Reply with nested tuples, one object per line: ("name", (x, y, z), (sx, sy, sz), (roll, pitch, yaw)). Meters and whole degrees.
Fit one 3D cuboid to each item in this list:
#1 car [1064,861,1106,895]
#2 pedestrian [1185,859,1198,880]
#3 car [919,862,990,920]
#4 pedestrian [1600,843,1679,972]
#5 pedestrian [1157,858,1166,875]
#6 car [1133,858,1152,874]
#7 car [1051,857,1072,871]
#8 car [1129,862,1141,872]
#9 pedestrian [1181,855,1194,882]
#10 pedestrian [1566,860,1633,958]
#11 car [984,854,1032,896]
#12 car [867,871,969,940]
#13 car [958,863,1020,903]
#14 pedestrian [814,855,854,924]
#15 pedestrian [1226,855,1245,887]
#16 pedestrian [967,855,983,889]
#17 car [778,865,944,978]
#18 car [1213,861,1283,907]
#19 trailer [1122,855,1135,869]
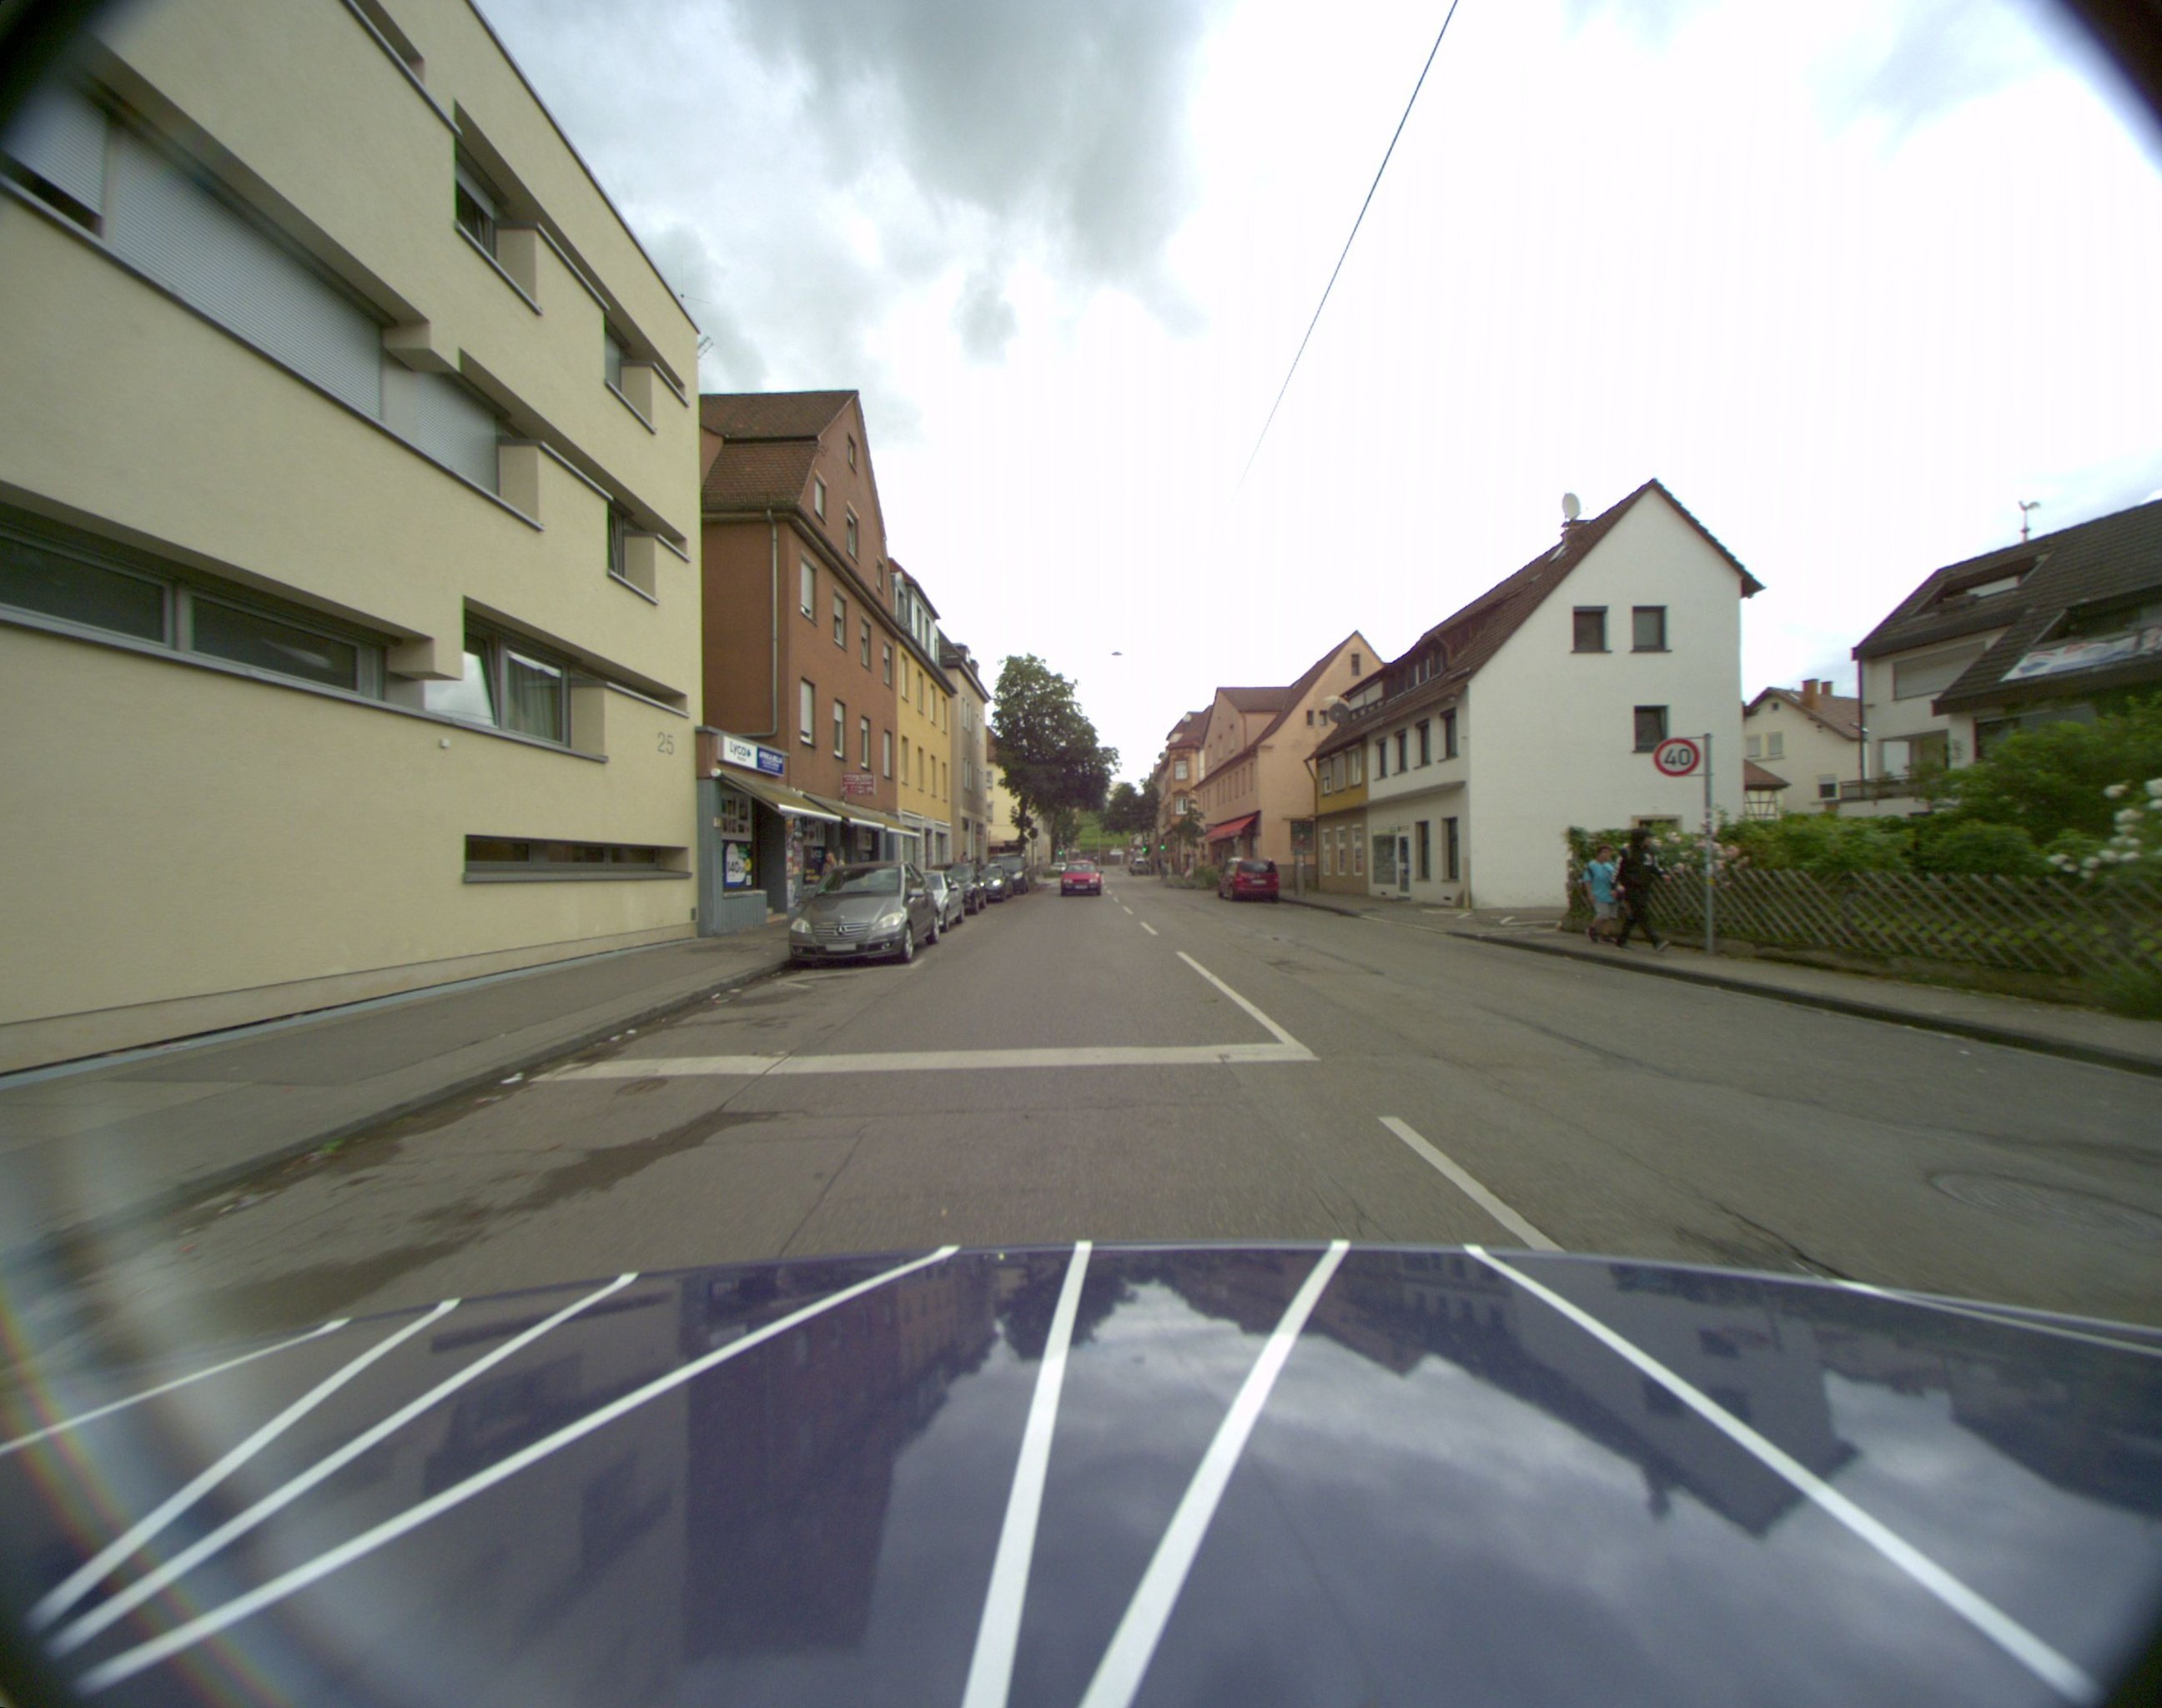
("car", (0.245, 1.034, 33.593), (1.626, 1.387, 4.001), (-1, 0, 3))
("pedestrian", (7.865, 1.097, 54.029), (0.740, 1.526, 0.983), (-1, 0, -1))
("car", (-3.782, 1.056, 23.301), (1.606, 1.509, 4.208), (-2, 0, -2))
("pedestrian", (8.331, 0.783, 11.362), (0.572, 1.837, 0.697), (-4, 0, 1))
("pedestrian", (8.641, 1.343, 81.516), (0.740, 1.708, 1.156), (-1, 0, -2))
("car", (6.698, 1.269, 83.171), (1.895, 1.702, 4.742), (1, -1, 2))
("car", (-2.128, 1.082, 83.771), (1.771, 1.457, 4.785), (-1, -1, 4))
("car", (7.678, 1.892, 108.138), (1.582, 1.374, 4.355), (1, 0, 2))
("pedestrian", (7.073, 0.957, 50.581), (0.740, 1.744, 0.983), (-1, 0, 1))
("pedestrian", (8.513, 0.888, 12.505), (0.572, 1.545, 0.697), (-2, 0, 1))
("car", (-3.245, 0.883, 34.724), (1.824, 1.770, 4.402), (-1, 0, -1))
("car", (-3.657, 1.119, 17.662), (1.555, 1.325, 3.812), (-1, 0, -1))
("car", (-3.510, 1.080, 29.736), (1.755, 1.397, 4.511), (0, 0, 1))
("pedestrian", (-6.030, 0.862, 18.586), (0.703, 1.639, 0.888), (0, 0, 0))
("pedestrian", (8.251, 0.903, 40.603), (0.732, 1.619, 0.758), (-3, 1, -3))
("pedestrian", (-5.315, 0.892, 38.150), (0.616, 1.643, 0.983), (1, 0, 0))
("car", (-3.514, 0.994, 12.849), (1.716, 1.551, 3.785), (-1, 0, -1))
("car", (6.374, 1.095, 29.461), (1.707, 1.565, 4.450), (1, 0, 0))
("trailer", (9.386, 1.613, 150.339), (2.450, 2.787, 6.305), (0, 0, 4))
